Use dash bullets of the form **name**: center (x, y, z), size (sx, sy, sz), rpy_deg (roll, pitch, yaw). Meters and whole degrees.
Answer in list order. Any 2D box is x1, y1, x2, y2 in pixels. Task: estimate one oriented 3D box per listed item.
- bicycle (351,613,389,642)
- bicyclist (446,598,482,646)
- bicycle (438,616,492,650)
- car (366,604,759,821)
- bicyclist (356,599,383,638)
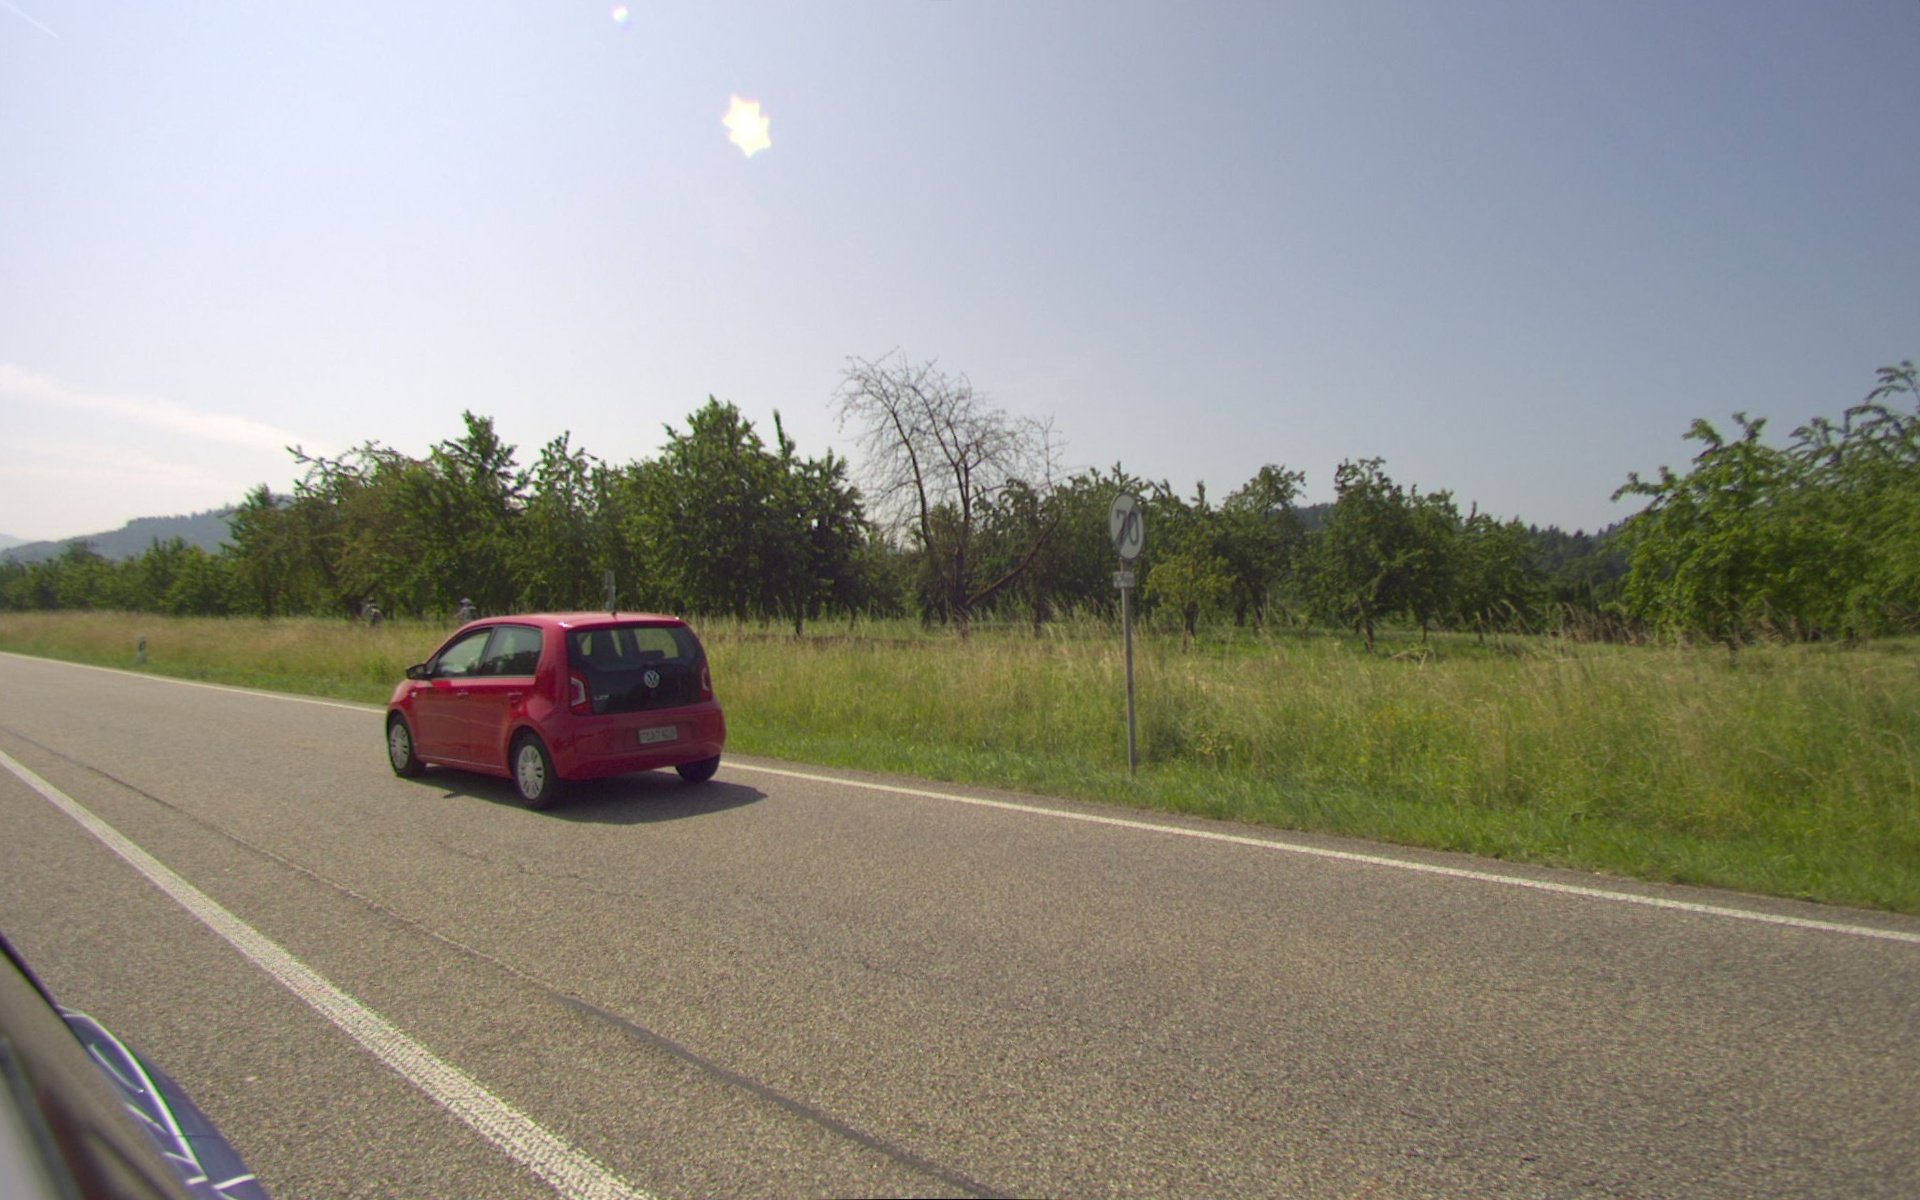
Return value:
- **bicycle**: center (-21.711, 1.012, 37.205), size (1.955, 0.997, 0.642), rpy_deg (0, 1, 42)
- **bicyclist**: center (-15.533, 0.677, 31.705), size (0.863, 1.466, 0.732), rpy_deg (0, 0, 42)
- **bicycle**: center (-15.531, 1.009, 31.704), size (2.224, 0.997, 0.732), rpy_deg (0, 1, 42)
- **car**: center (-3.527, 0.799, 8.717), size (3.618, 1.468, 1.609), rpy_deg (-1, 0, 40)
- **bicyclist**: center (-21.710, 0.662, 37.194), size (0.863, 1.425, 0.635), rpy_deg (0, 0, 42)
